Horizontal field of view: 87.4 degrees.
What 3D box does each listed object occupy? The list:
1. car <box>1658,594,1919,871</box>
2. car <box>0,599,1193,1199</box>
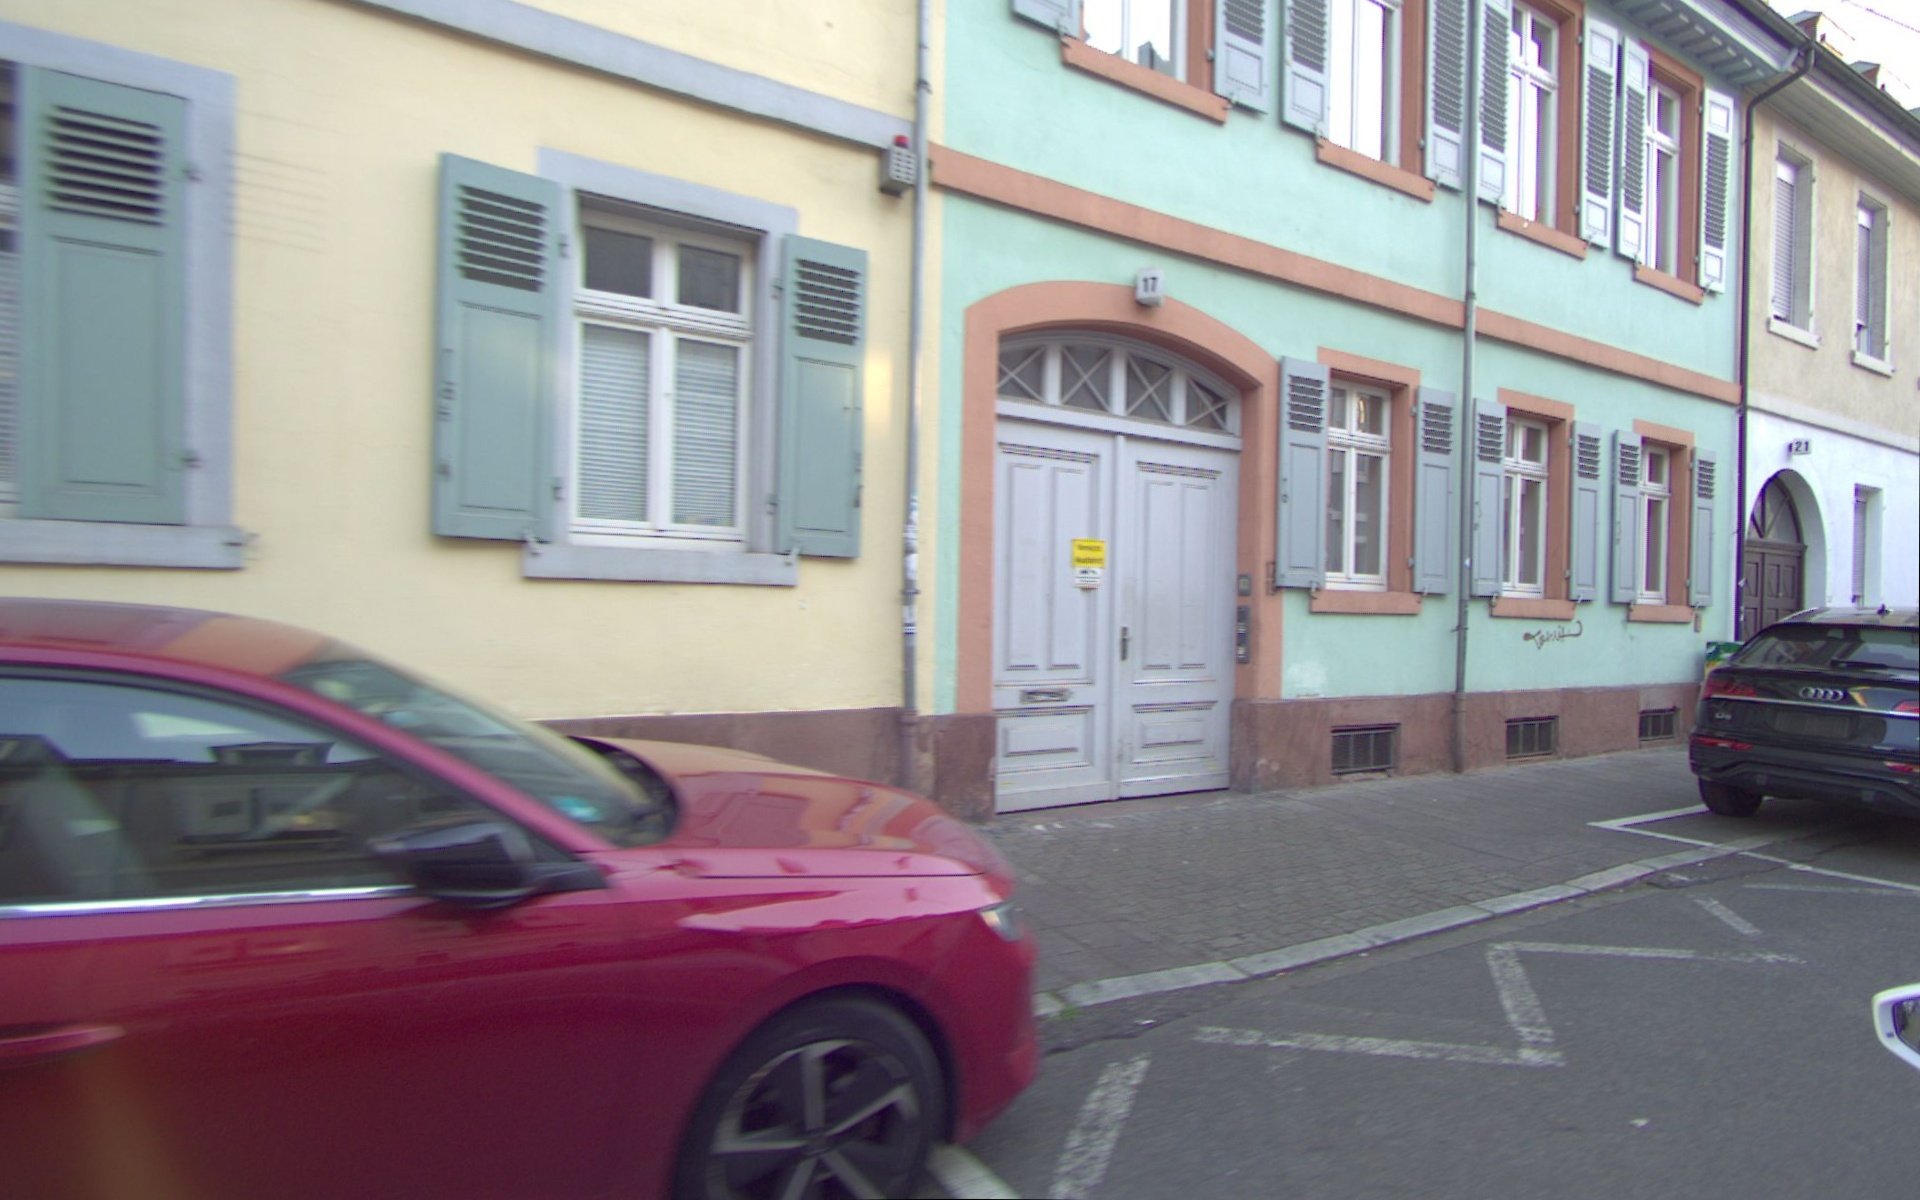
[{"bbox_3d":[7.534,0.863,7.761,4.436,1.699,1.794,1,-1,-30],"label":"car"},{"bbox_3d":[-1.647,0.728,2.313,4.213,1.420,1.756,2,0,-31],"label":"car"}]
